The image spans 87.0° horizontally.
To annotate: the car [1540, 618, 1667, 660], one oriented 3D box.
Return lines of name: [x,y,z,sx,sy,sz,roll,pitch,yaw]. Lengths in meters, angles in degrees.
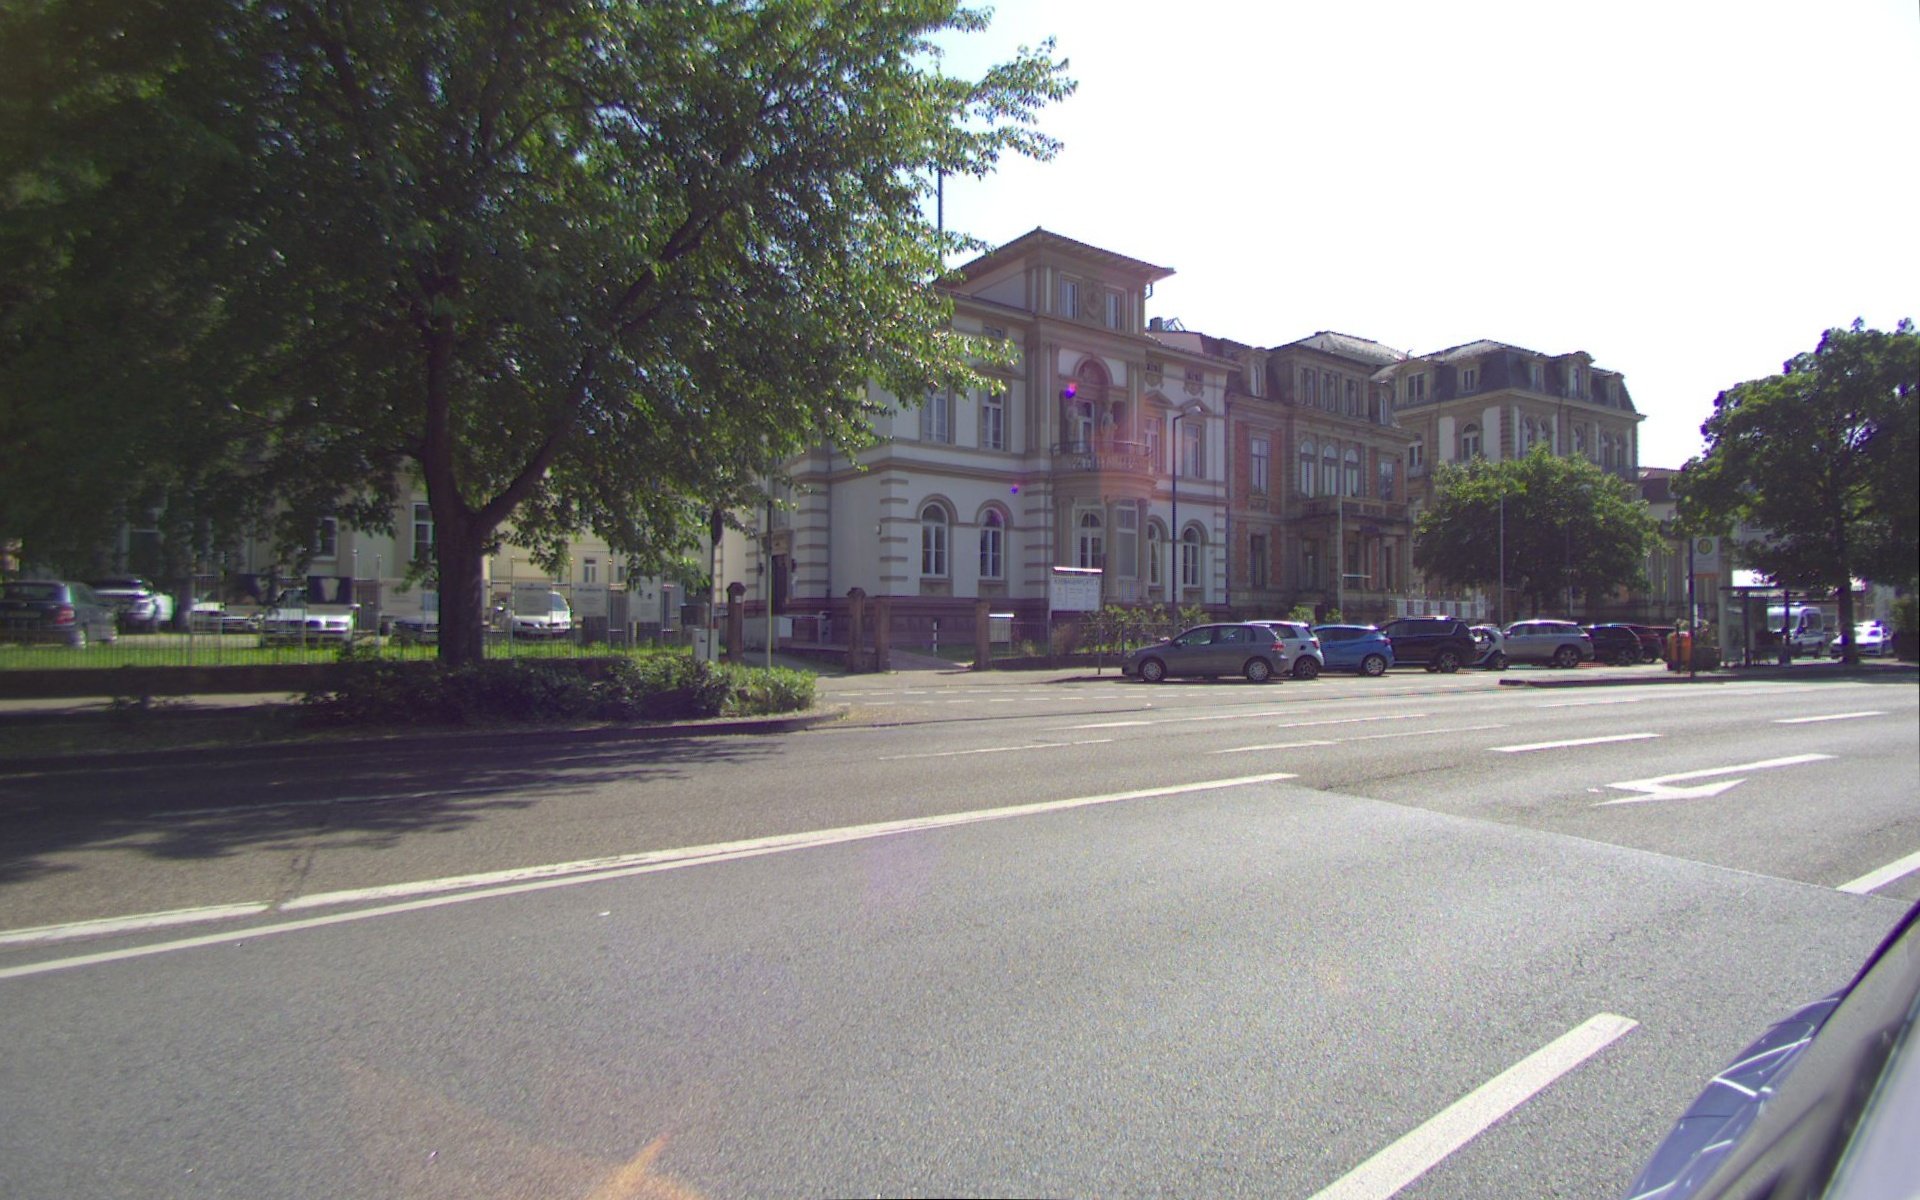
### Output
car: [25.301,1.531,39.943,3.824,1.595,1.740,-1,-2,17]

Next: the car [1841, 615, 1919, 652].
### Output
car: [42.411,1.525,46.620,4.789,1.647,1.821,1,-2,-37]

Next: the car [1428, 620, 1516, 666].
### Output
car: [16.842,1.406,33.359,2.249,1.502,1.199,0,-2,7]

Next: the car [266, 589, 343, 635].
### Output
car: [-20.923,0.383,32.428,1.785,1.353,4.093,1,-1,-29]

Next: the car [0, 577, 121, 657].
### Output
car: [-18.996,0.338,20.982,1.840,1.495,4.159,1,-1,-31]

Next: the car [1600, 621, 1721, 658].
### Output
car: [28.490,1.596,41.279,3.650,1.436,1.739,-1,-2,17]

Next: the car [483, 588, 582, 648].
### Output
car: [-10.627,0.419,25.025,1.823,1.353,4.058,1,-1,-29]

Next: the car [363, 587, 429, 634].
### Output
car: [-18.596,0.339,33.390,1.785,1.437,4.067,1,-1,-29]

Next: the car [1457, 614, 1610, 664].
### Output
car: [19.930,1.349,35.351,4.250,1.651,1.706,0,-2,13]

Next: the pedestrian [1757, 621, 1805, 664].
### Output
pedestrian: [23.851,1.219,29.411,1.017,1.213,0.779,-2,-2,43]

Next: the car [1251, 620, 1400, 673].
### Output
car: [10.409,1.309,29.075,3.750,1.461,1.708,0,-2,11]

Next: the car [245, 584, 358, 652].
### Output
car: [-14.624,0.388,22.688,1.785,1.353,4.485,1,-1,-29]

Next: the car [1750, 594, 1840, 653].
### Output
car: [39.228,1.110,47.500,5.218,2.637,1.999,1,-2,-36]

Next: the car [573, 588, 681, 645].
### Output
car: [-8.696,0.405,26.220,1.951,1.353,4.058,1,-1,-29]

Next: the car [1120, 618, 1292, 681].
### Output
car: [6.183,1.219,25.444,4.051,1.480,1.817,-1,-2,17]

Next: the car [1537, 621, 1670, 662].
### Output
car: [23.610,1.515,37.265,3.768,1.435,1.597,-1,-2,17]

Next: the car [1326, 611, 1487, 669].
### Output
car: [13.671,1.232,31.227,4.206,1.718,1.708,0,-2,11]

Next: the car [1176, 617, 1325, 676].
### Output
car: [7.757,1.234,27.325,3.754,1.531,1.706,-1,-2,14]

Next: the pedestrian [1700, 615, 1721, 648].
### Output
pedestrian: [40.258,1.700,54.286,0.708,1.774,0.701,1,-2,-37]

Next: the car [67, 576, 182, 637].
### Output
car: [-24.334,0.198,29.629,1.785,1.624,4.326,1,-1,-29]

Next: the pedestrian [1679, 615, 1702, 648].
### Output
pedestrian: [39.692,1.703,54.998,0.737,1.763,0.820,1,-2,-37]

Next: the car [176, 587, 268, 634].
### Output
car: [-22.703,0.321,31.283,1.785,1.353,4.058,1,-1,-29]

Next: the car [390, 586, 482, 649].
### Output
car: [-12.502,0.406,24.056,1.785,1.353,4.102,1,-1,-29]
